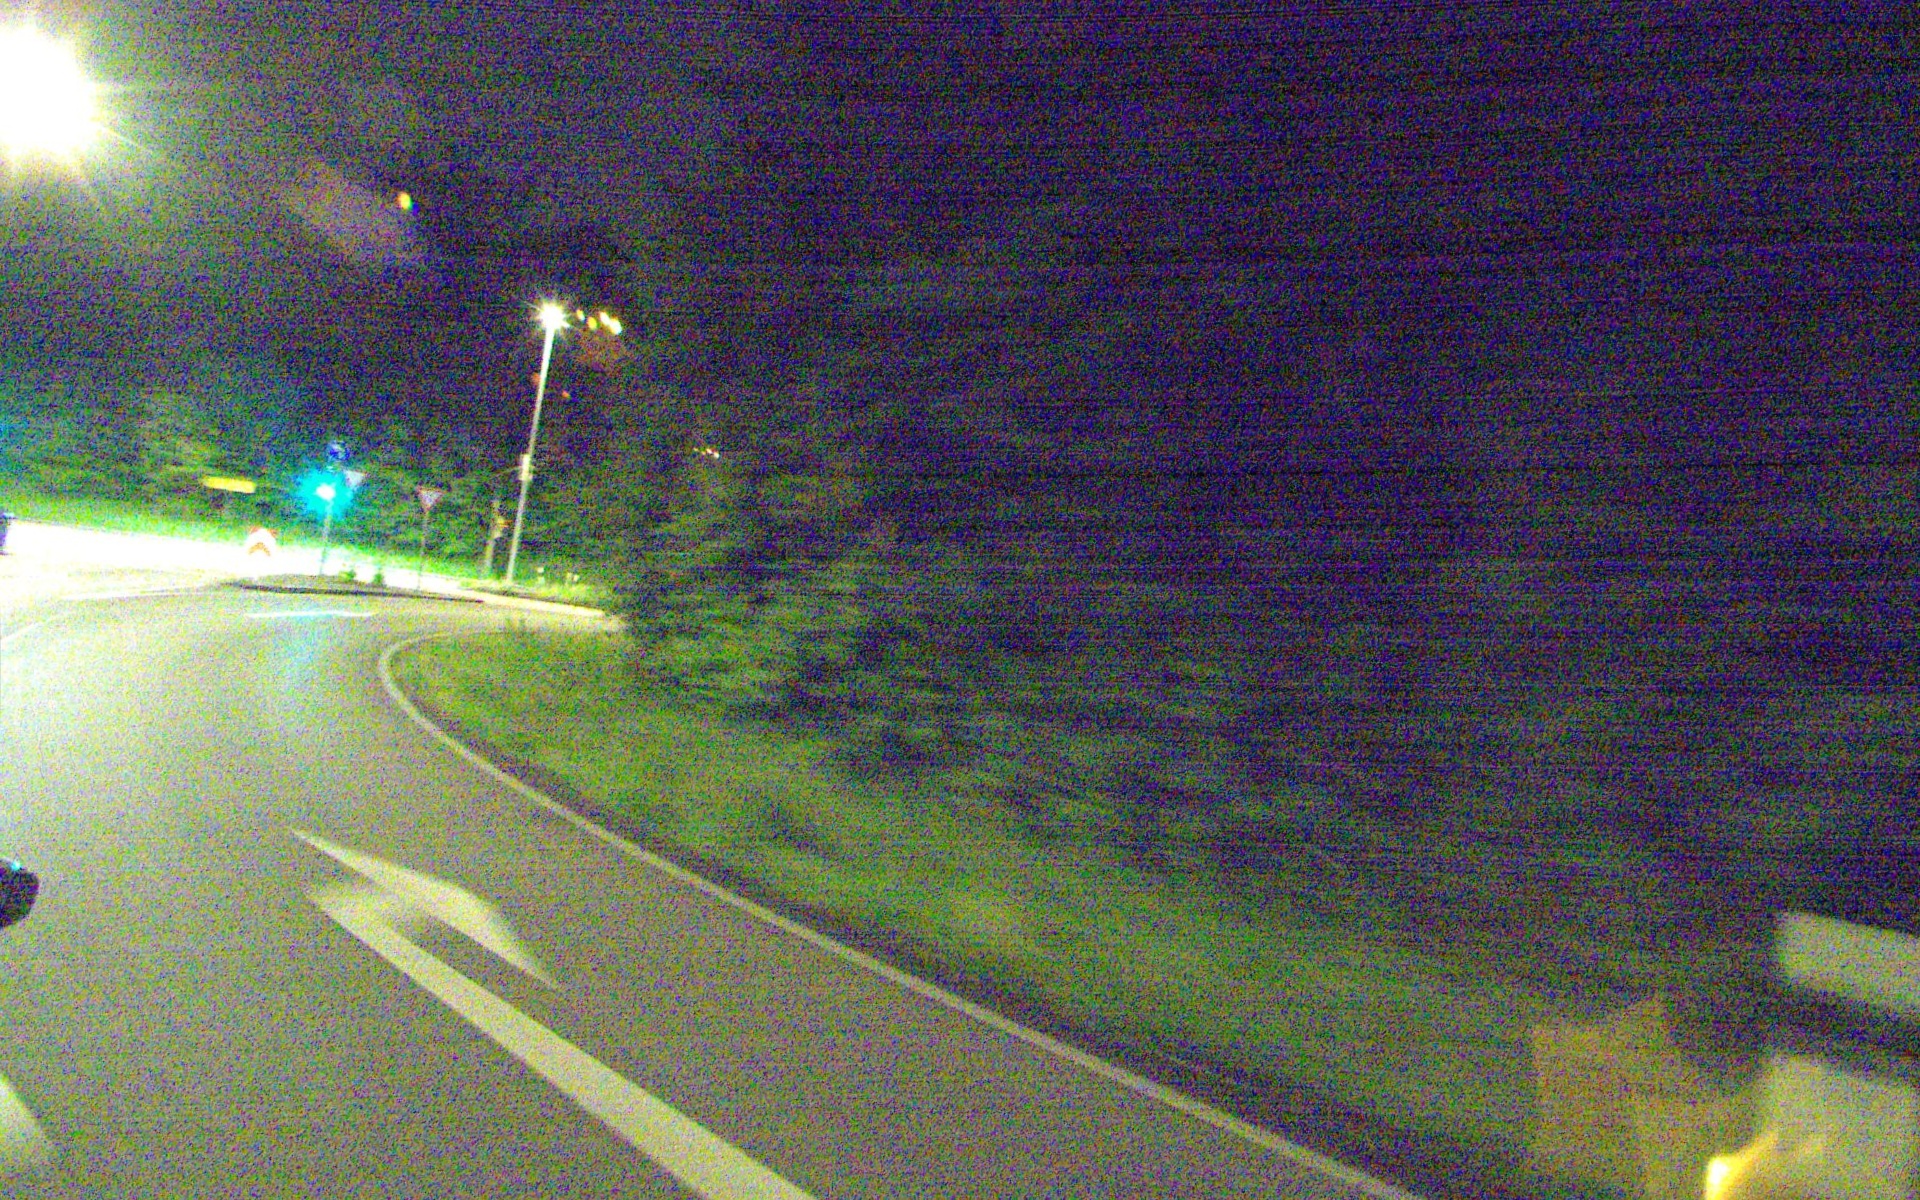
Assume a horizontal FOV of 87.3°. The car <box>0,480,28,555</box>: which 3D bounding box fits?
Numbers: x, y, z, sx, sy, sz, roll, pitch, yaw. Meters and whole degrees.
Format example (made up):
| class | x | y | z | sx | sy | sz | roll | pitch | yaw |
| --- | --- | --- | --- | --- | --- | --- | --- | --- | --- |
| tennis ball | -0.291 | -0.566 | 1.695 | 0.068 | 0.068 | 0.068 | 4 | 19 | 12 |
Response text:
| class | x | y | z | sx | sy | sz | roll | pitch | yaw |
| --- | --- | --- | --- | --- | --- | --- | --- | --- | --- |
| car | -21.066 | -1.877 | 20.272 | 1.834 | 1.600 | 3.988 | 9 | -1 | -21 |
